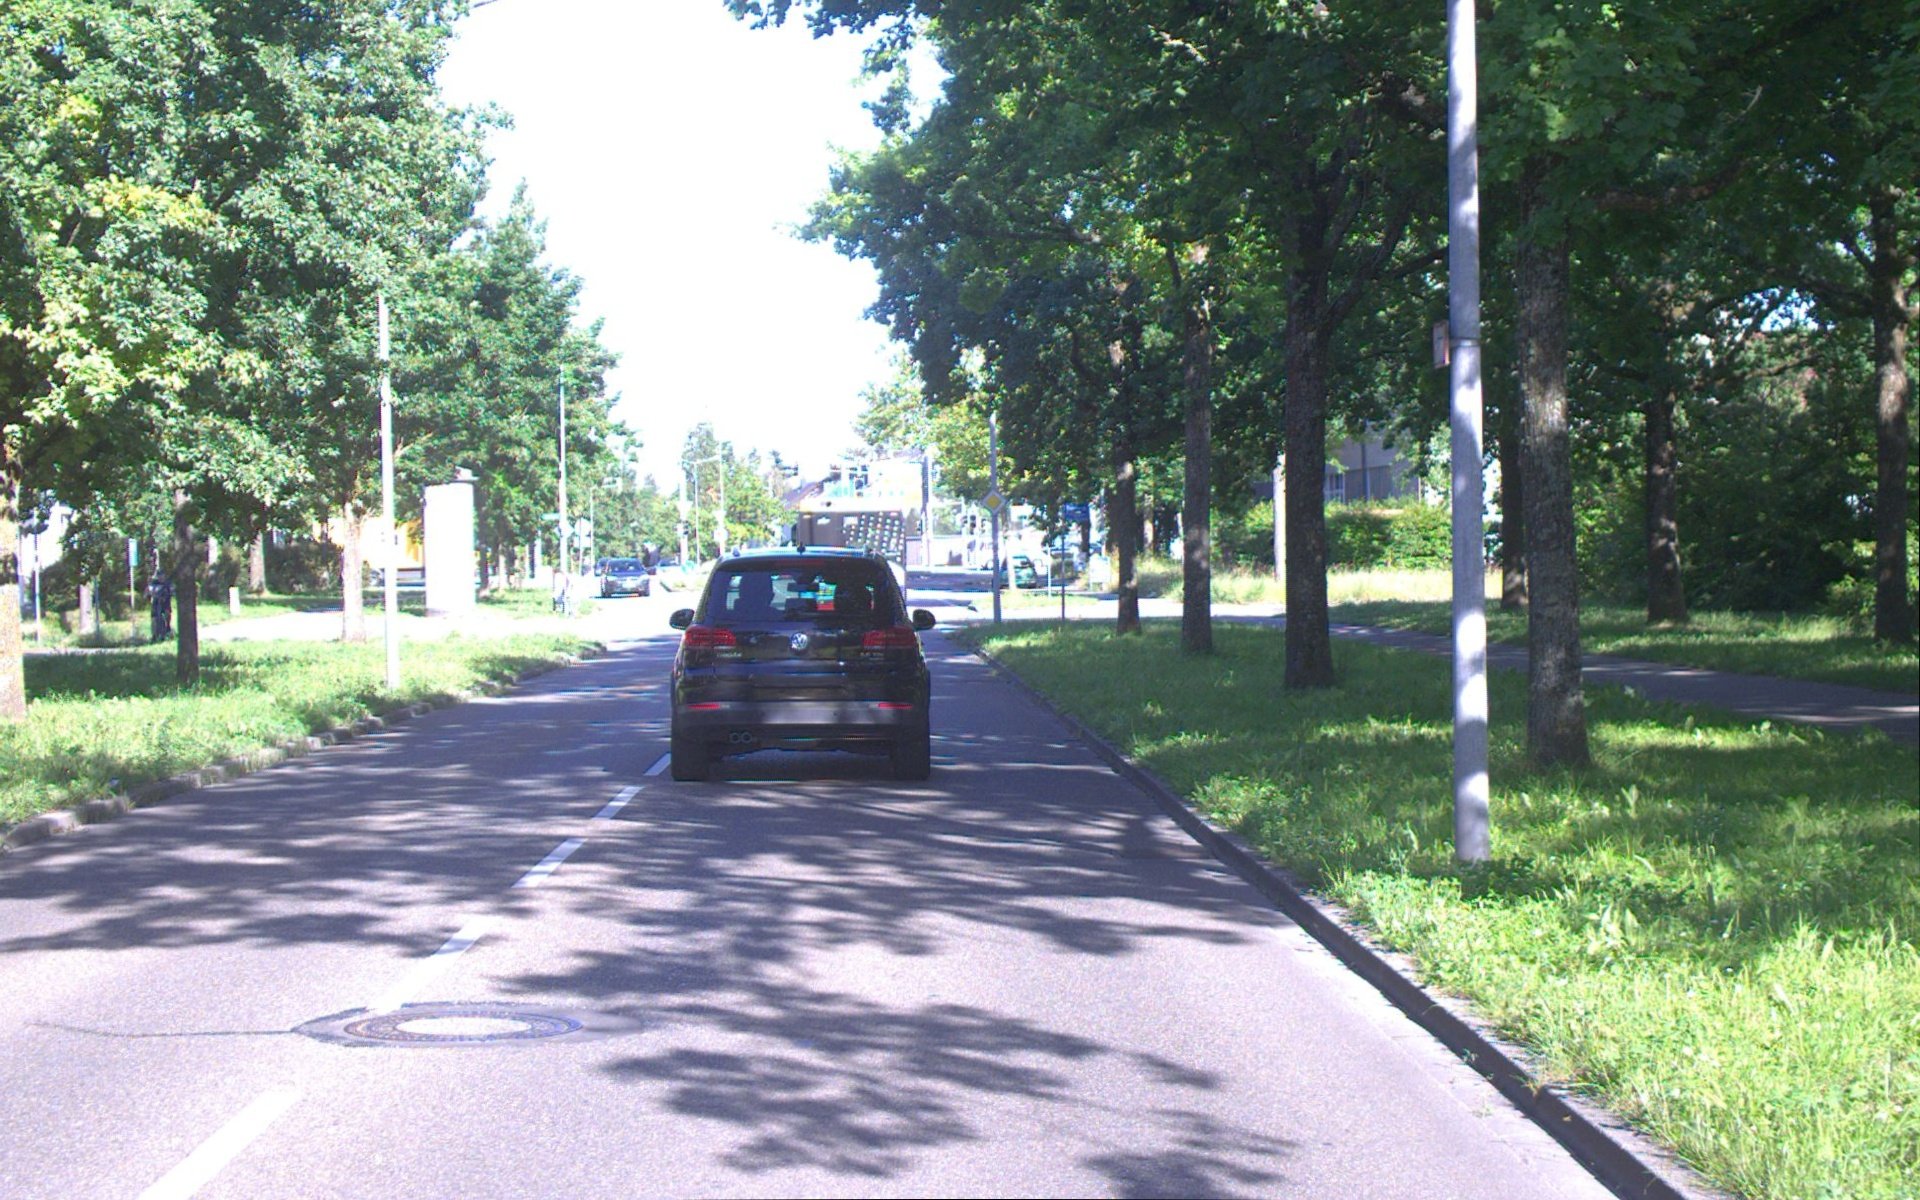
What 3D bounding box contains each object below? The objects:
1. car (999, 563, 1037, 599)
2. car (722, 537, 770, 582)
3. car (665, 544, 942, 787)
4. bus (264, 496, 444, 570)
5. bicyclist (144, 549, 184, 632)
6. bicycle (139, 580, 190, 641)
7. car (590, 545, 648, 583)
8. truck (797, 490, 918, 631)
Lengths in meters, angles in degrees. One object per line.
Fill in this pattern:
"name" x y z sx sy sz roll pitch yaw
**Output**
"car" 2.342 -0.790 138.532 1.452 1.401 2.856 0 1 0
"car" -9.806 -1.847 157.463 1.993 2.007 4.001 0 1 -6
"car" -1.080 0.416 25.535 1.782 1.628 4.000 0 1 1
"bus" -31.497 -3.476 178.918 9.101 3.765 3.388 0 1 -10
"bicyclist" -17.705 -0.215 76.447 0.686 1.824 0.934 0 1 -2
"bicycle" -17.695 0.228 76.518 0.717 1.317 1.992 0 1 -2
"car" -13.781 -1.473 139.135 1.993 1.450 4.000 -1 1 -2
"truck" -2.432 -1.012 83.960 2.512 3.232 8.152 -1 1 1
